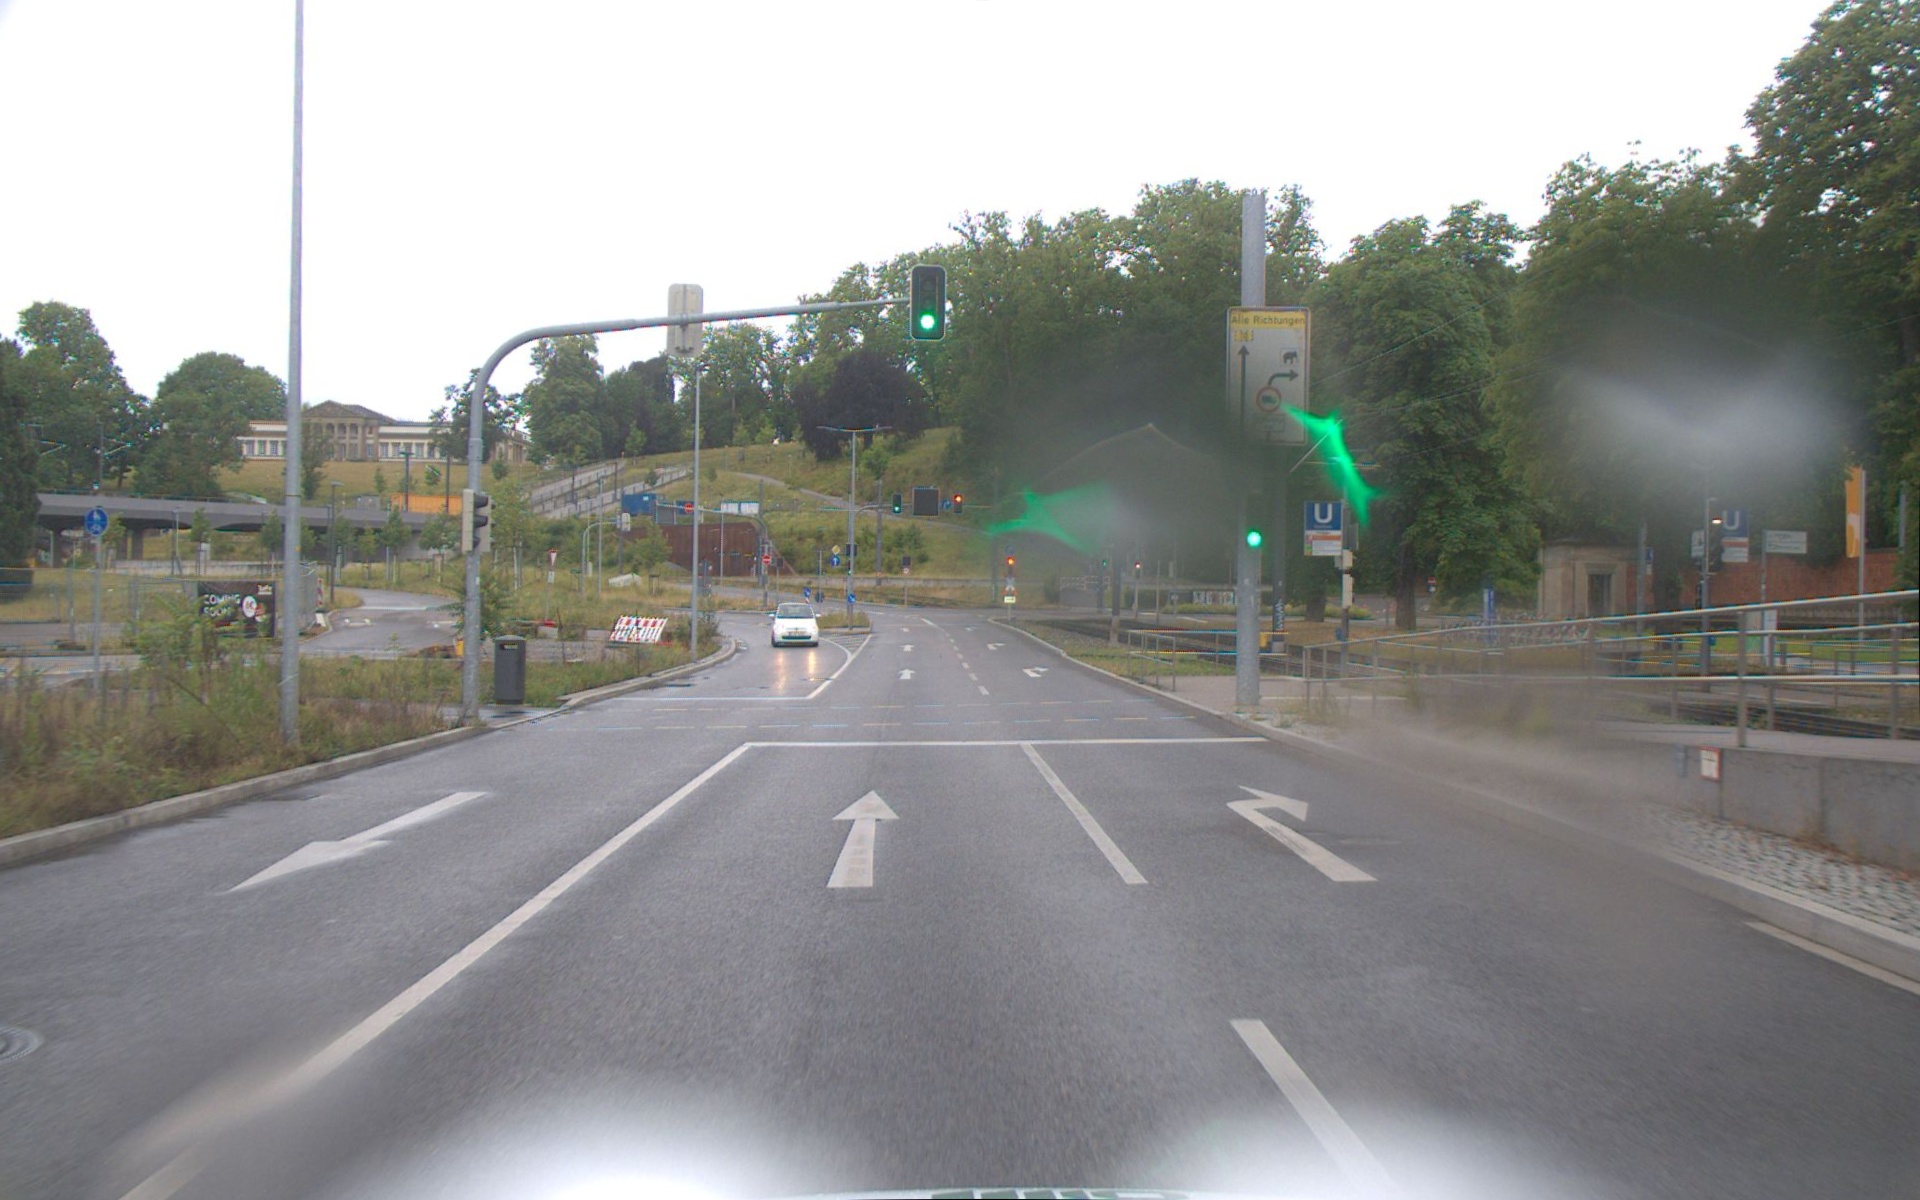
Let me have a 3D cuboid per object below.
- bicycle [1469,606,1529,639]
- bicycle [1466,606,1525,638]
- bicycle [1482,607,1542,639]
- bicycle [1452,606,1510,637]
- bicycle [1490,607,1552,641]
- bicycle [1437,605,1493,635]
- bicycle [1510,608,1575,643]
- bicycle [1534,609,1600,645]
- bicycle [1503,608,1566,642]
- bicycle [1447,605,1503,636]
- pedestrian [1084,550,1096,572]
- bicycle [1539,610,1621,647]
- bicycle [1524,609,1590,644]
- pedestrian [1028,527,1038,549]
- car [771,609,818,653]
[{"bbox_3d":[17.964,0.746,55.133,1.798,1.050,0.652,0,0,-4],"label":"bicycle"},{"bbox_3d":[18.065,0.738,55.820,1.774,1.050,0.652,0,0,-4],"label":"bicycle"},{"bbox_3d":[18.201,0.753,54.516,1.774,1.050,0.652,0,0,-4],"label":"bicycle"},{"bbox_3d":[17.866,0.728,56.713,1.774,1.050,0.652,0,0,-4],"label":"bicycle"},{"bbox_3d":[17.959,0.767,52.920,1.774,1.052,0.652,0,0,-4],"label":"bicycle"},{"bbox_3d":[17.859,0.708,58.465,1.774,1.050,0.652,0,0,-4],"label":"bicycle"},{"bbox_3d":[18.090,0.792,51.377,1.810,1.050,0.652,0,0,-4],"label":"bicycle"},{"bbox_3d":[18.245,0.808,49.740,1.774,1.050,0.652,0,0,-4],"label":"bicycle"},{"bbox_3d":[18.101,0.790,52.152,1.774,1.050,0.652,0,0,-4],"label":"bicycle"},{"bbox_3d":[17.930,0.717,57.585,1.774,1.050,0.652,0,0,-4],"label":"bicycle"},{"bbox_3d":[11.044,-3.307,140.420,0.938,1.812,1.123,3,1,3],"label":"pedestrian"},{"bbox_3d":[18.281,0.828,48.765,2.179,1.050,0.689,0,0,-4],"label":"bicycle"},{"bbox_3d":[18.235,0.799,50.535,1.774,1.050,0.652,0,0,-4],"label":"bicycle"},{"bbox_3d":[7.064,-6.062,160.709,0.776,2.047,0.654,-4,6,-17],"label":"pedestrian"},{"bbox_3d":[-5.934,1.079,58.903,1.557,1.517,3.708,-1,0,-7],"label":"car"}]
